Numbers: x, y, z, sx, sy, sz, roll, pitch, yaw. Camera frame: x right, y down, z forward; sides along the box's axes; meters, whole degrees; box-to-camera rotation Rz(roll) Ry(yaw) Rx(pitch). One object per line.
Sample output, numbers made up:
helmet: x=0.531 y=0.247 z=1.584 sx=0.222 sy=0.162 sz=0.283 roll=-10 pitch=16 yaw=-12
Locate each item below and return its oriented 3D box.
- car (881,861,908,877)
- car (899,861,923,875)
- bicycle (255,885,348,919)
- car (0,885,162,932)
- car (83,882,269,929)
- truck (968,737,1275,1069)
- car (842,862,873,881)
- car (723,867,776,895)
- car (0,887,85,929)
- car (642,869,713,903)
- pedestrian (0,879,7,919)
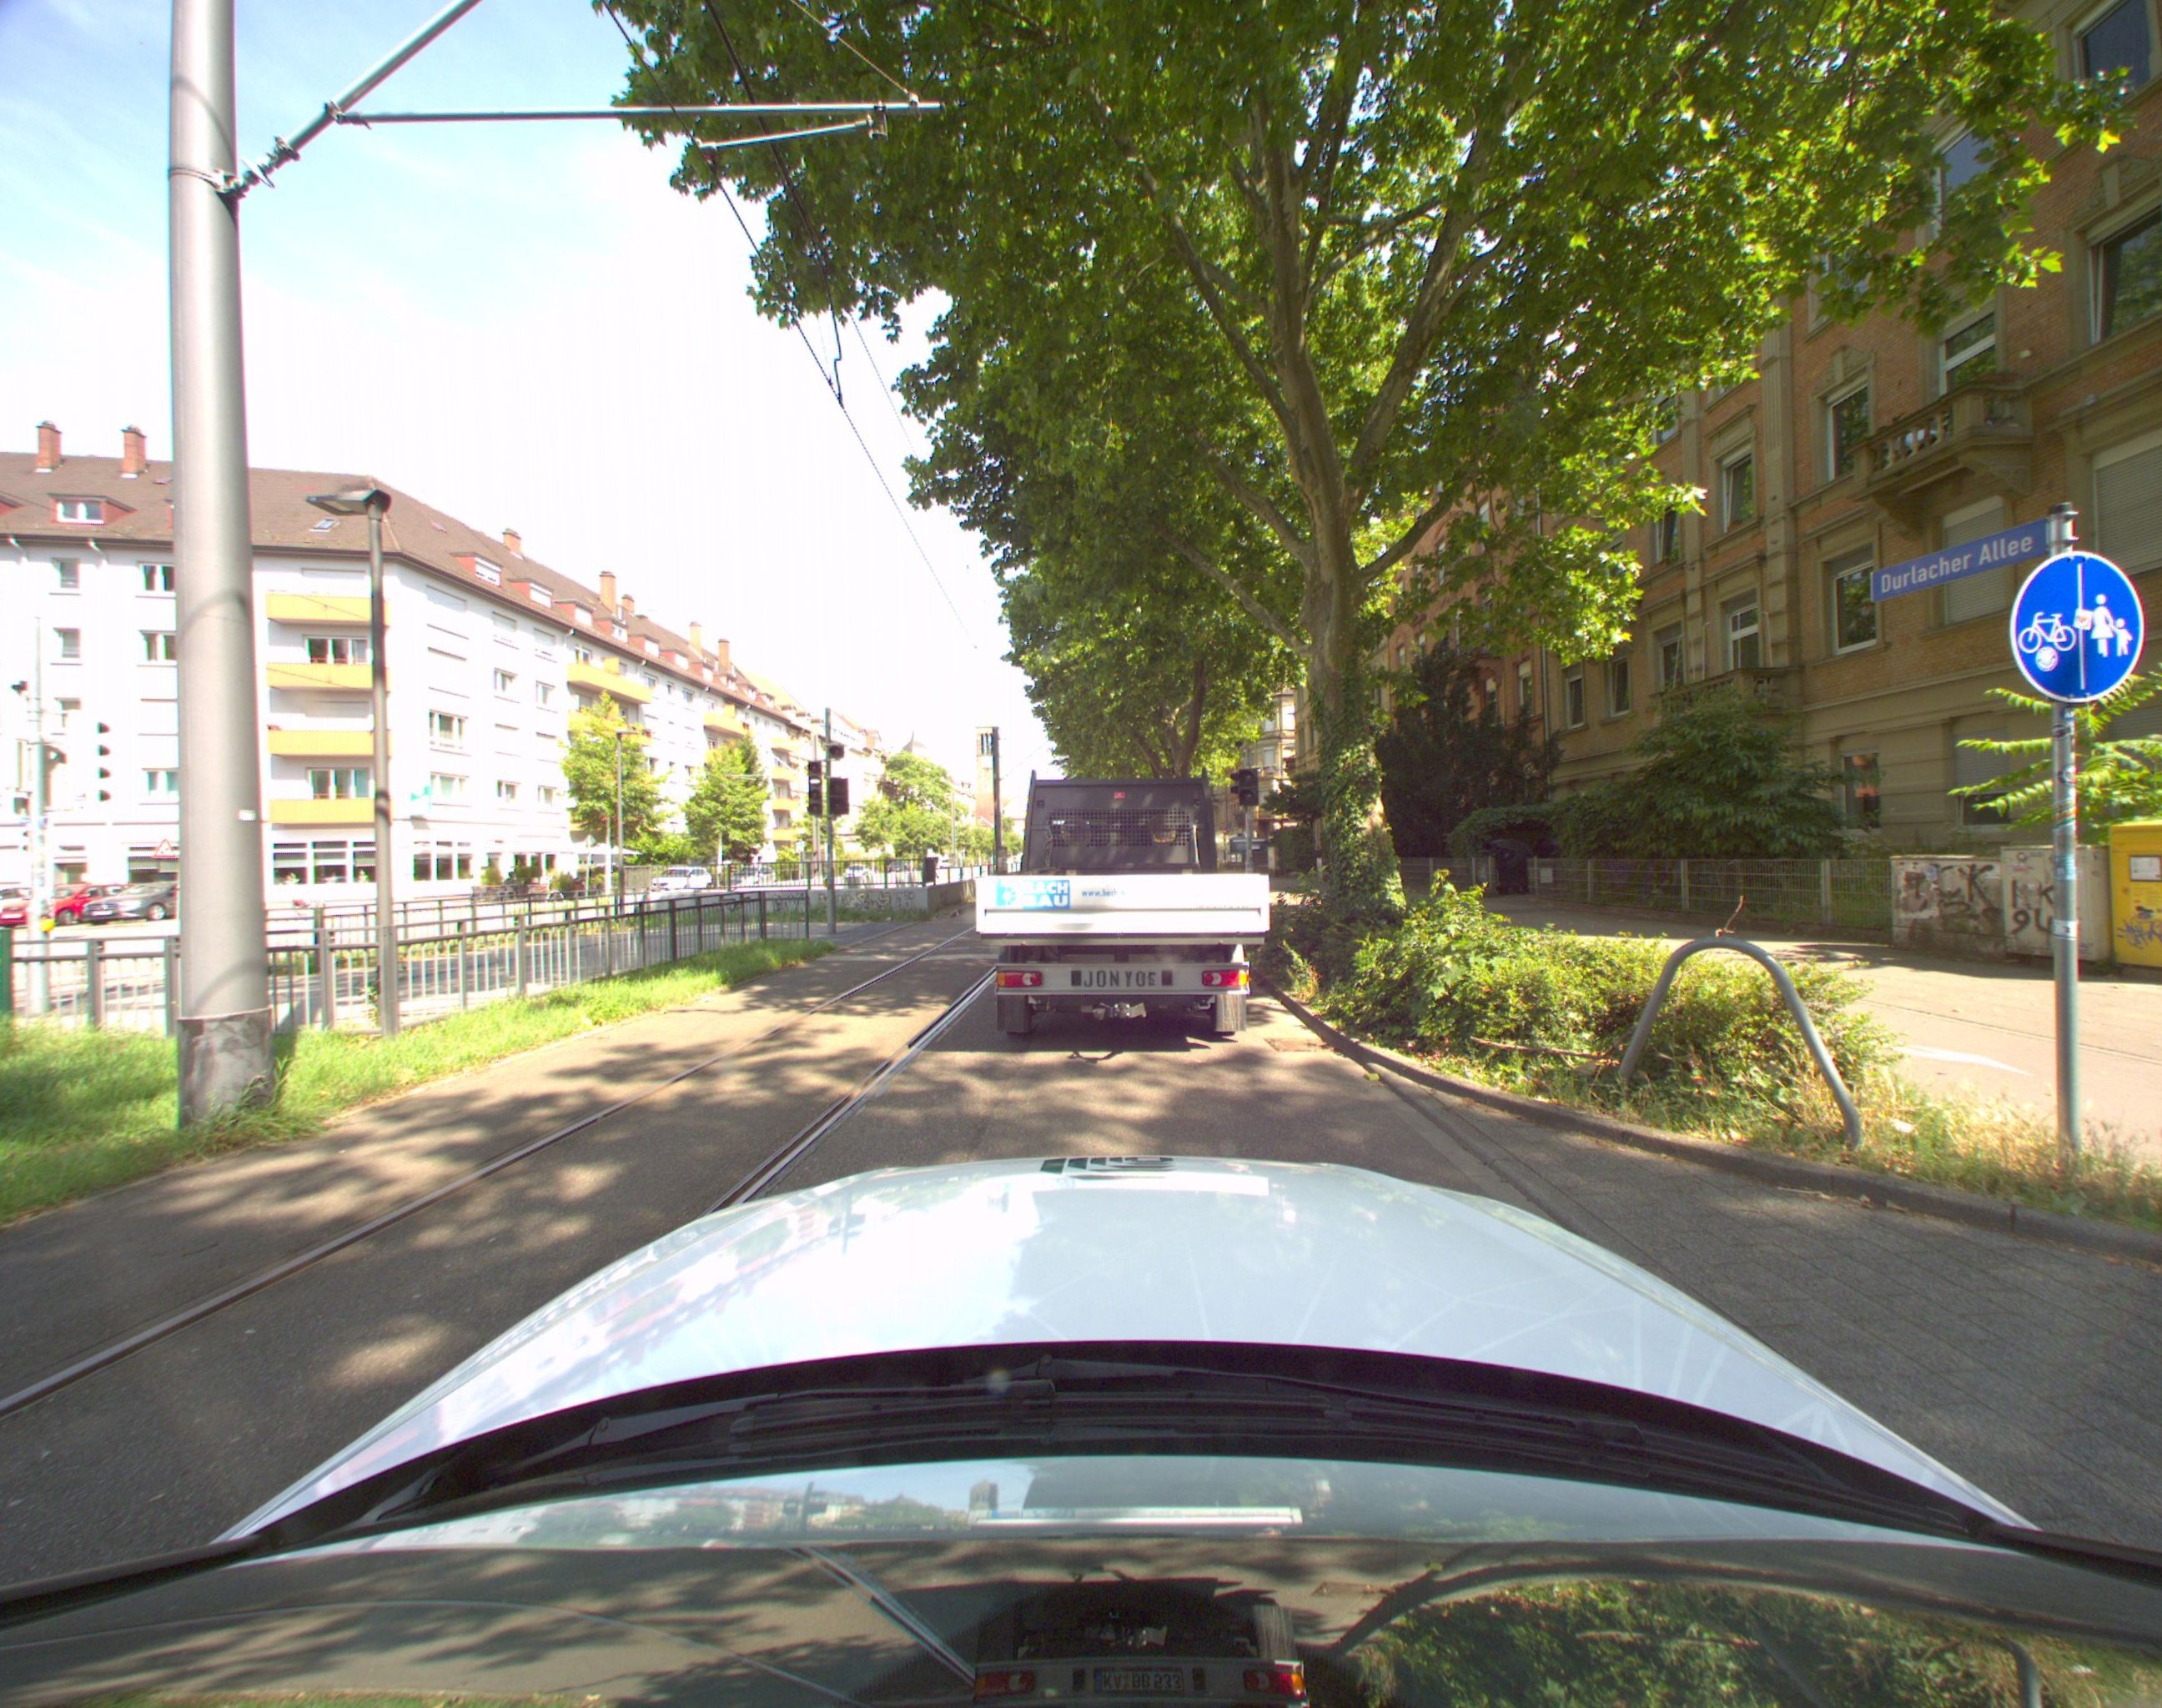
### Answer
car: x=-19.438 y=1.555 z=85.100 sx=1.764 sy=1.498 sz=4.000 roll=-2 pitch=0 yaw=0
car: x=-19.354 y=1.586 z=92.940 sx=1.764 sy=1.498 sz=4.000 roll=-2 pitch=0 yaw=0
bicycle: x=-30.103 y=1.827 z=31.539 sx=0.908 sy=1.137 sz=2.807 roll=-2 pitch=0 yaw=-1
car: x=-36.527 y=1.919 z=29.504 sx=1.929 sy=1.406 sz=4.158 roll=-2 pitch=0 yaw=-6
car: x=-33.168 y=1.830 z=30.076 sx=1.830 sy=1.376 sz=4.637 roll=-2 pitch=0 yaw=-4
truck: x=0.388 y=0.354 z=7.954 sx=2.130 sy=2.319 sz=4.404 roll=-1 pitch=0 yaw=3
car: x=-19.577 y=1.500 z=71.519 sx=1.767 sy=1.498 sz=3.994 roll=-2 pitch=0 yaw=-4
car: x=-20.311 y=1.610 z=50.090 sx=1.767 sy=1.498 sz=3.994 roll=-3 pitch=0 yaw=-4
car: x=-39.314 y=2.001 z=29.337 sx=1.929 sy=1.406 sz=4.158 roll=-2 pitch=0 yaw=-6
car: x=-20.537 y=1.578 z=41.601 sx=1.767 sy=1.498 sz=3.994 roll=-3 pitch=0 yaw=-4
pedestrian: x=-42.821 y=1.765 z=31.902 sx=0.690 sy=1.572 sz=0.542 roll=-1 pitch=0 yaw=-22
